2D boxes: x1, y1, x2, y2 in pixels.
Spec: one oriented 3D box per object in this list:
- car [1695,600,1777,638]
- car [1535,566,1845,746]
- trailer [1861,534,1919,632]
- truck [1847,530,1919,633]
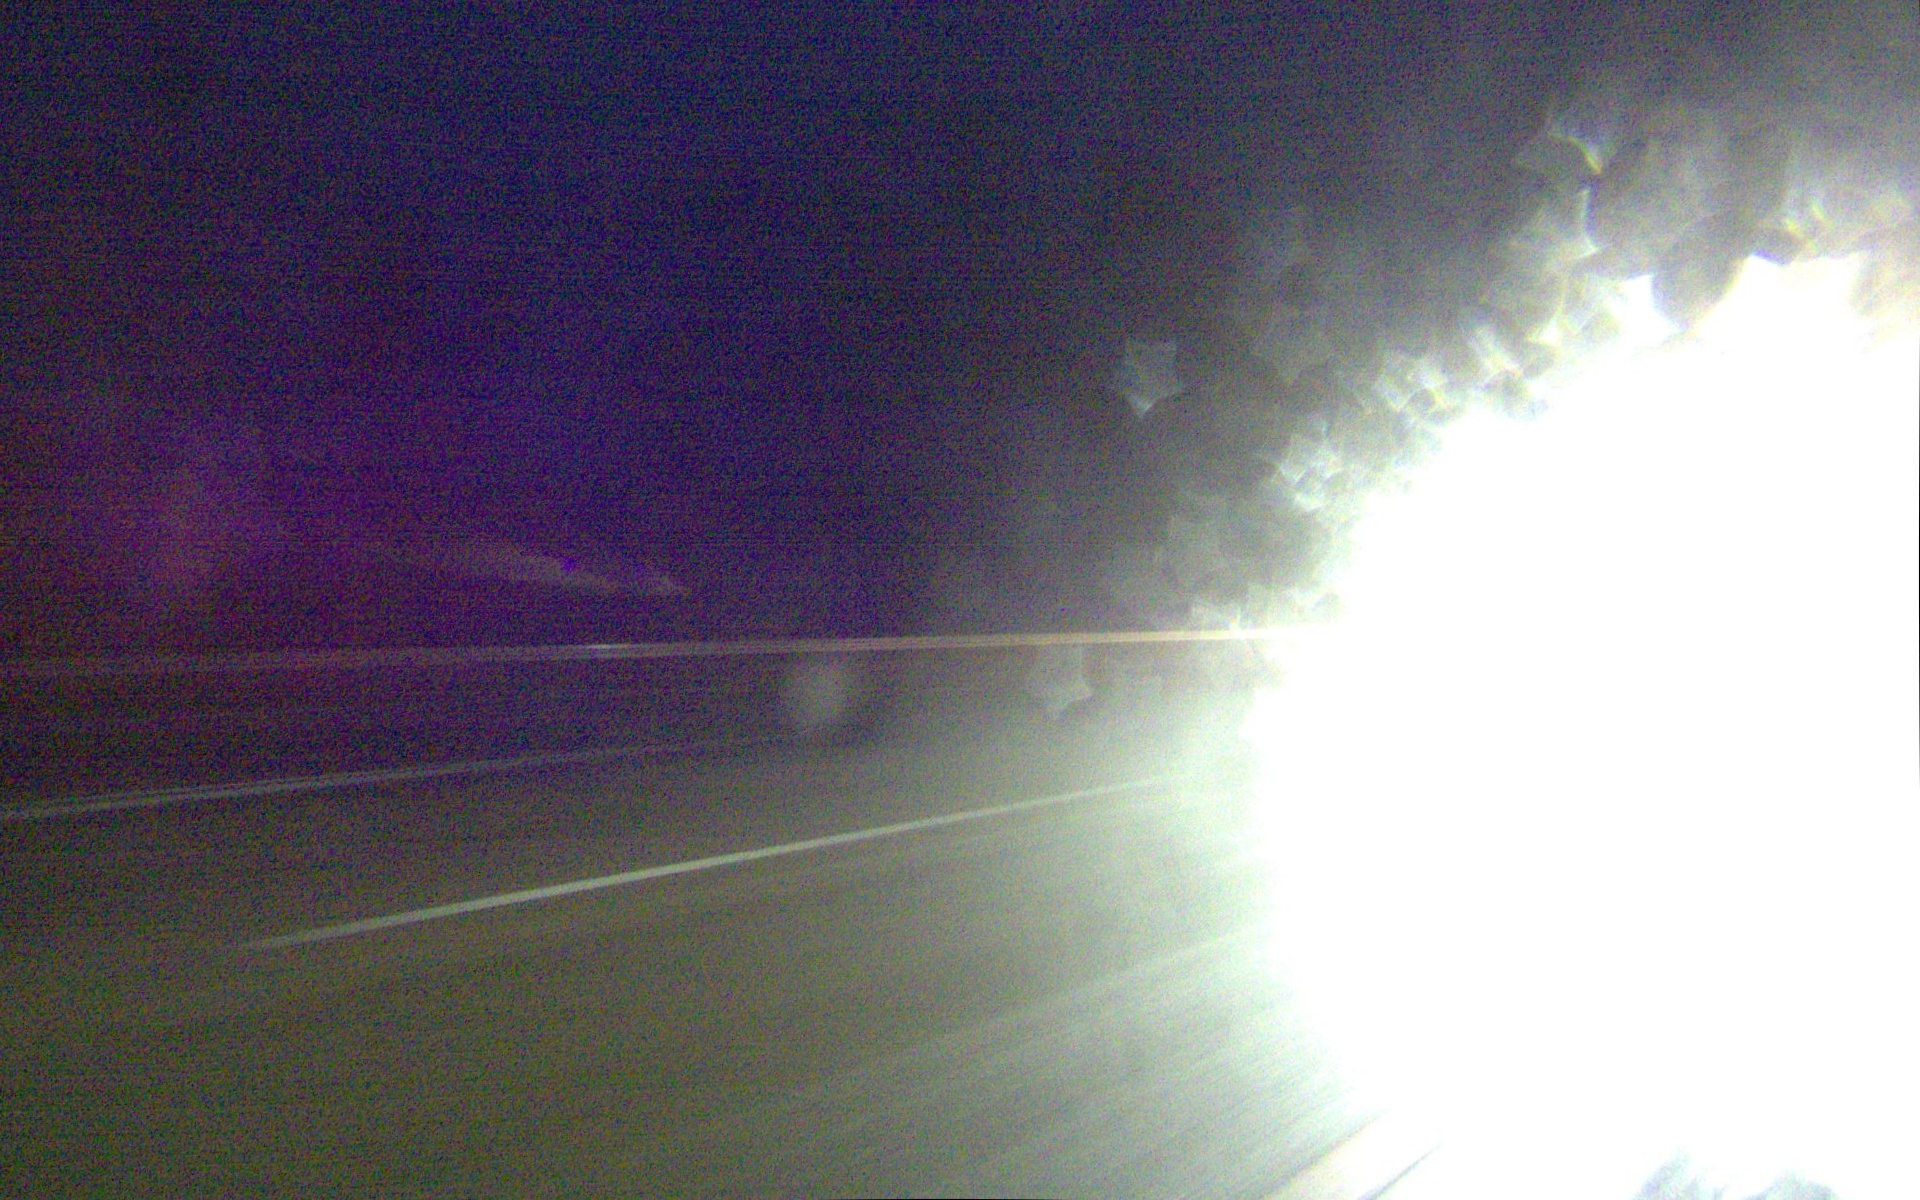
[{"bbox_3d":[34.607,0.831,45.103,4.042,1.610,1.918,0,-2,-38],"label":"car"},{"bbox_3d":[8.082,0.555,11.117,3.612,1.645,1.847,1,-2,-39],"label":"car"},{"bbox_3d":[44.650,-0.700,46.319,13.569,4.030,2.745,0,-3,-39],"label":"trailer"},{"bbox_3d":[39.345,-0.720,42.009,5.104,4.021,2.781,0,-3,-39],"label":"truck"}]
